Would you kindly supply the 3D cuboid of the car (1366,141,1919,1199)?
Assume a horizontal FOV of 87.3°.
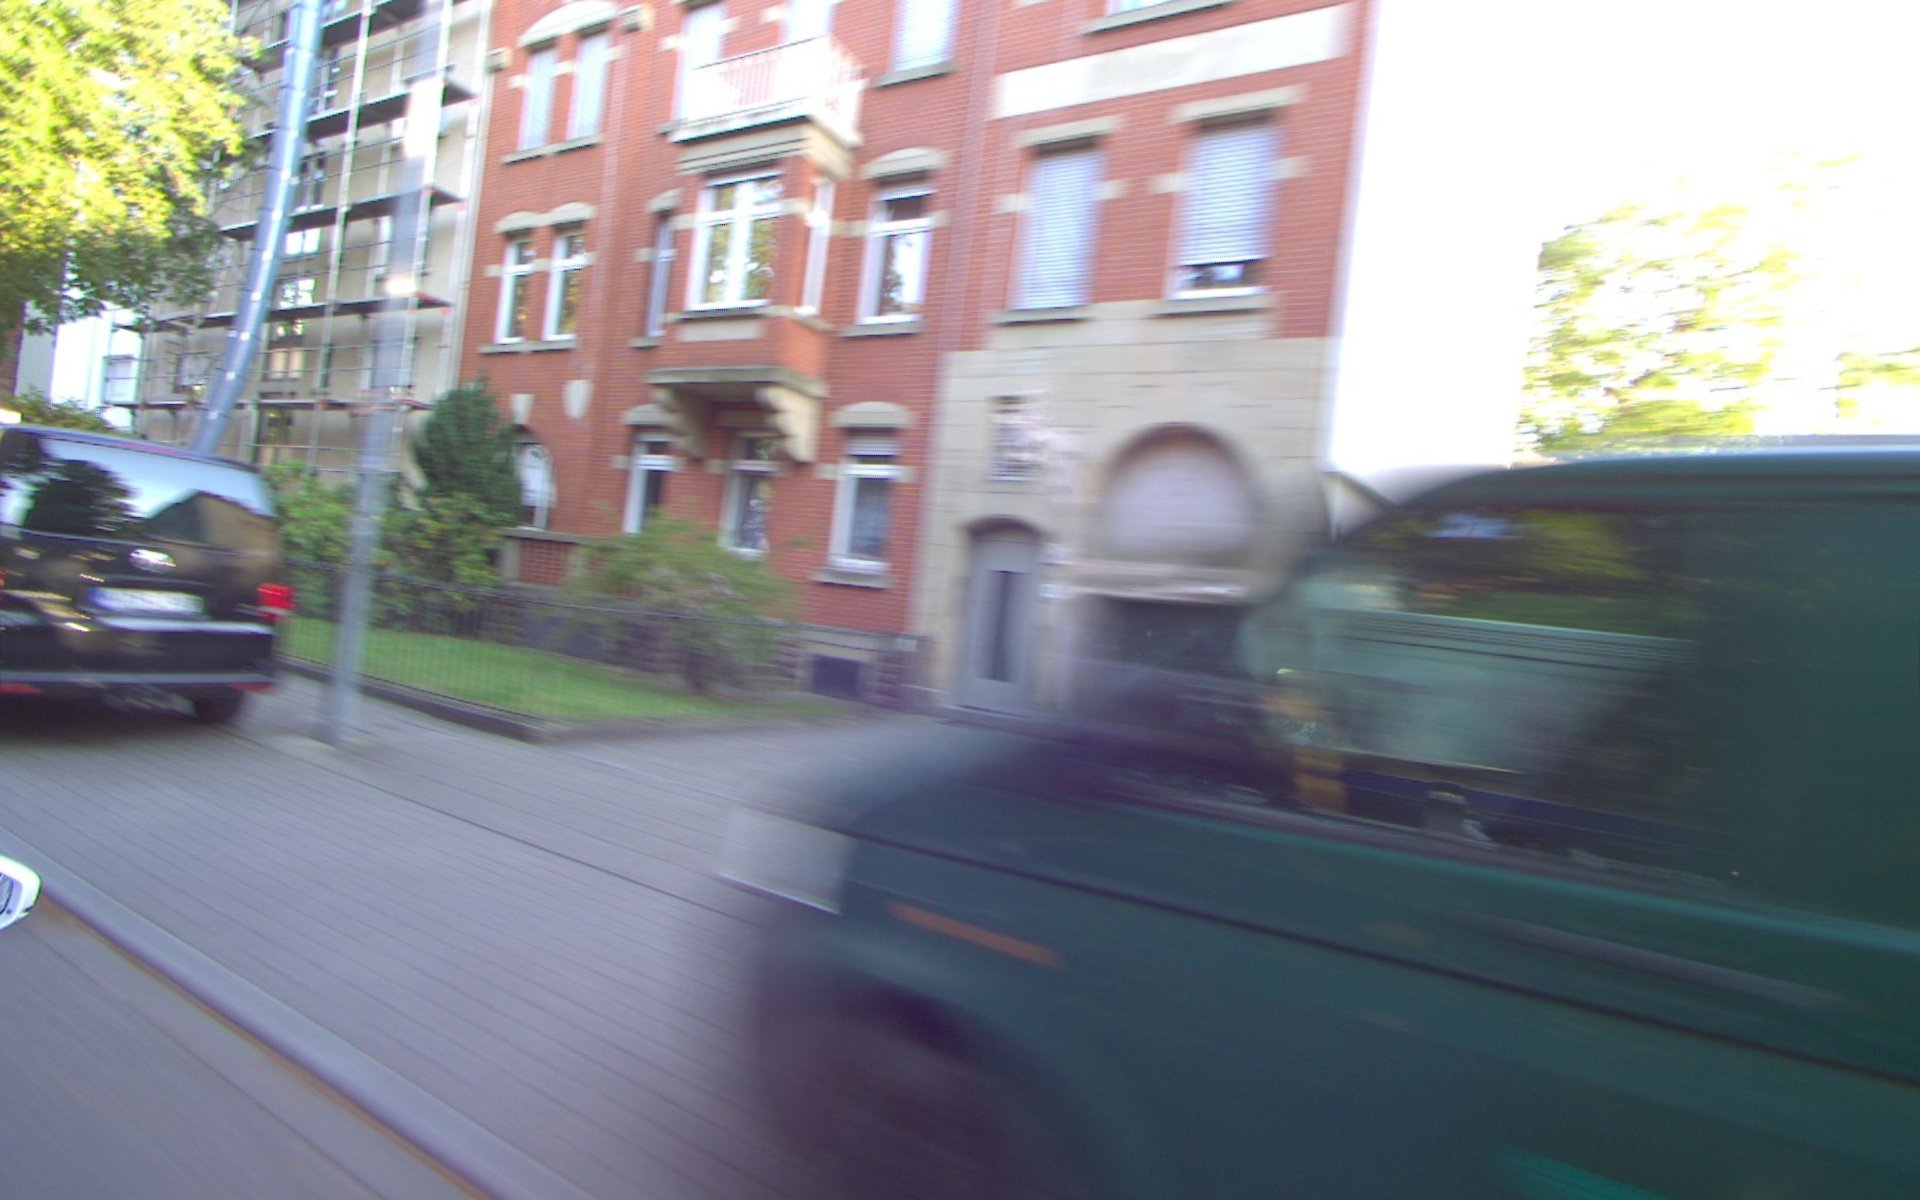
[{"bbox_3d":[3.171,0.744,1.115,4.749,2.086,1.955,8,2,31],"label":"car"}]
